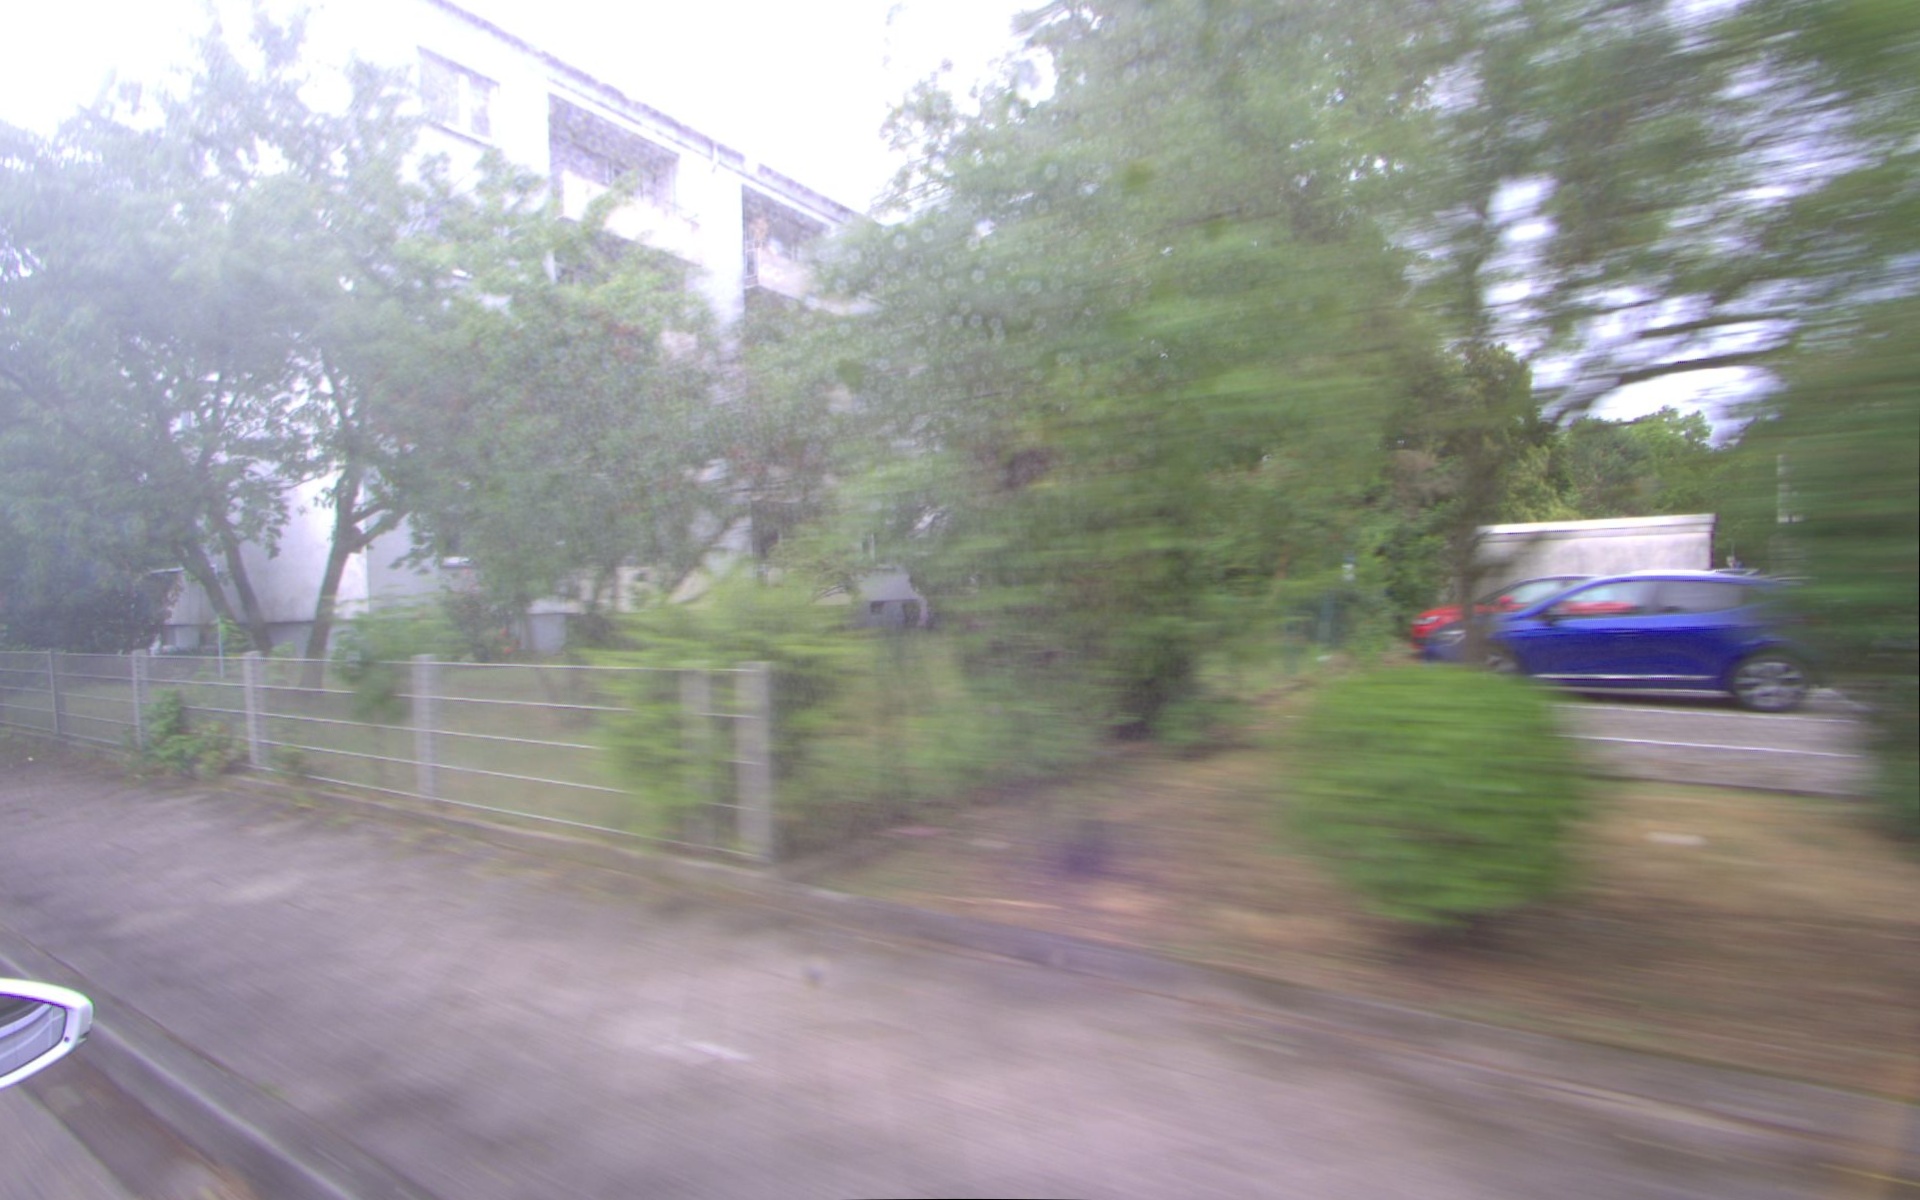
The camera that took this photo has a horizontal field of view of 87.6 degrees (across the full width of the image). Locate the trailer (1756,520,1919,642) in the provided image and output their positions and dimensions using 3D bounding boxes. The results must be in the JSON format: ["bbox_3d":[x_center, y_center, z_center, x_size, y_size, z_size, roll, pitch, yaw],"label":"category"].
[{"bbox_3d":[20.528,-0.413,21.969,4.559,2.558,1.932,-1,1,32],"label":"trailer"}]

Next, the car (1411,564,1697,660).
[{"bbox_3d":[9.681,0.193,16.548,3.854,1.399,1.961,-1,0,32],"label":"car"}]

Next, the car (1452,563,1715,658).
[{"bbox_3d":[11.414,0.190,18.607,3.941,1.573,1.989,-1,2,31],"label":"car"}]

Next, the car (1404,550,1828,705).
[{"bbox_3d":[7.427,0.284,11.736,3.854,1.531,2.017,-1,0,32],"label":"car"}]
